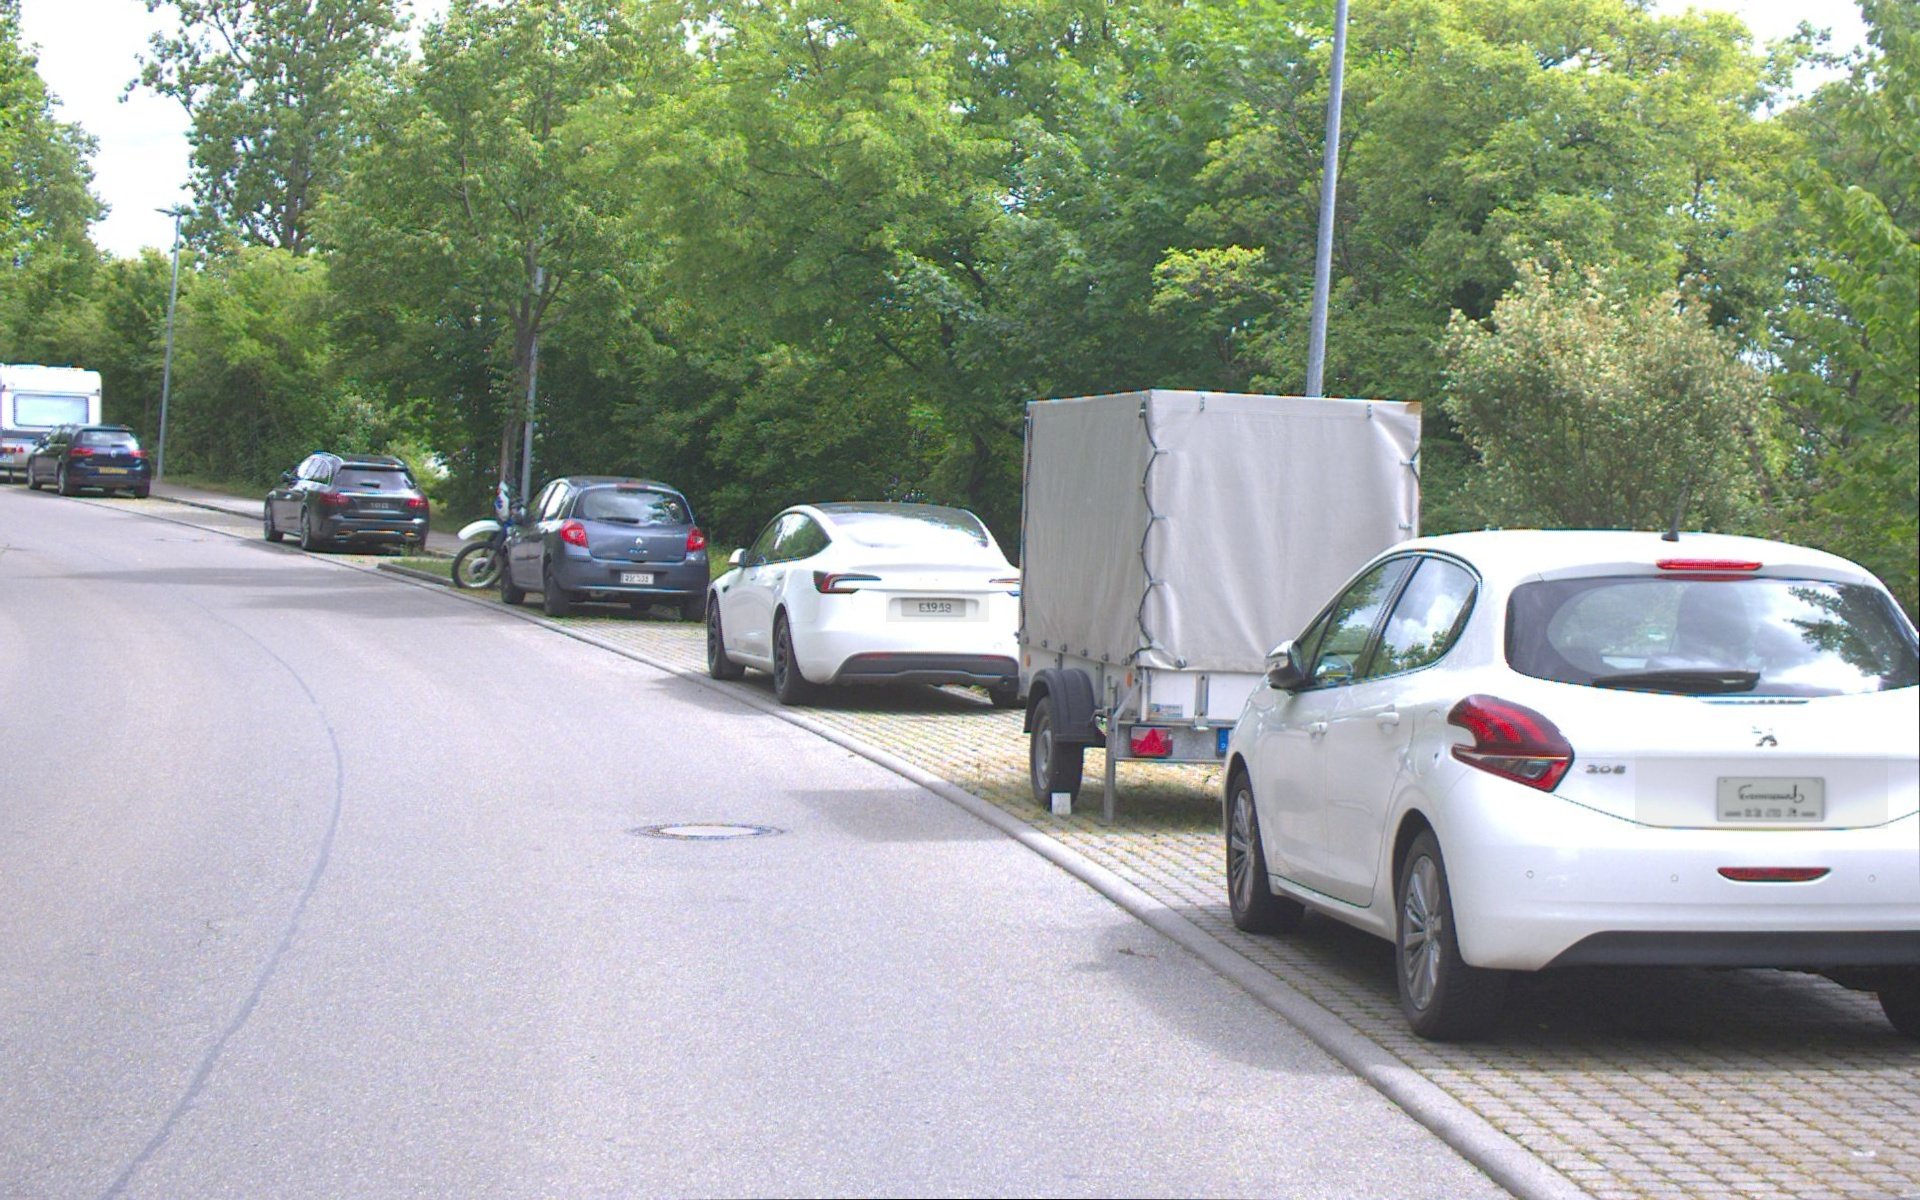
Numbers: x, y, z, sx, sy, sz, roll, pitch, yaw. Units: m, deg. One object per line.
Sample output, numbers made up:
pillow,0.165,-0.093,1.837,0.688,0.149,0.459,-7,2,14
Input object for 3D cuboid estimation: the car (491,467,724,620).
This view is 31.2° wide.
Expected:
car,-3.899,-0.656,37.445,1.769,1.512,4.109,2,2,-16

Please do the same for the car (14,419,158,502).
car,-17.786,-2.848,69.816,1.681,1.445,4.481,2,3,-29

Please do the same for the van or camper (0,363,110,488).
van or camper,-20.391,-3.856,74.868,2.354,2.544,5.076,0,4,-29

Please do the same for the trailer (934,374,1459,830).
trailer,1.084,-0.036,17.635,1.729,2.071,3.785,1,1,-11

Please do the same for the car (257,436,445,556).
car,-9.285,-1.606,52.124,1.892,1.524,4.548,2,3,-21

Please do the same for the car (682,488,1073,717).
car,-0.746,-0.050,25.970,1.862,1.472,4.904,0,3,-15

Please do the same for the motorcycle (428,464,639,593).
motorcycle,-5.082,-0.867,41.022,2.306,1.470,0.975,1,2,8

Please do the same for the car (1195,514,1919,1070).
car,1.953,0.474,11.111,1.705,1.472,3.784,1,1,-7
